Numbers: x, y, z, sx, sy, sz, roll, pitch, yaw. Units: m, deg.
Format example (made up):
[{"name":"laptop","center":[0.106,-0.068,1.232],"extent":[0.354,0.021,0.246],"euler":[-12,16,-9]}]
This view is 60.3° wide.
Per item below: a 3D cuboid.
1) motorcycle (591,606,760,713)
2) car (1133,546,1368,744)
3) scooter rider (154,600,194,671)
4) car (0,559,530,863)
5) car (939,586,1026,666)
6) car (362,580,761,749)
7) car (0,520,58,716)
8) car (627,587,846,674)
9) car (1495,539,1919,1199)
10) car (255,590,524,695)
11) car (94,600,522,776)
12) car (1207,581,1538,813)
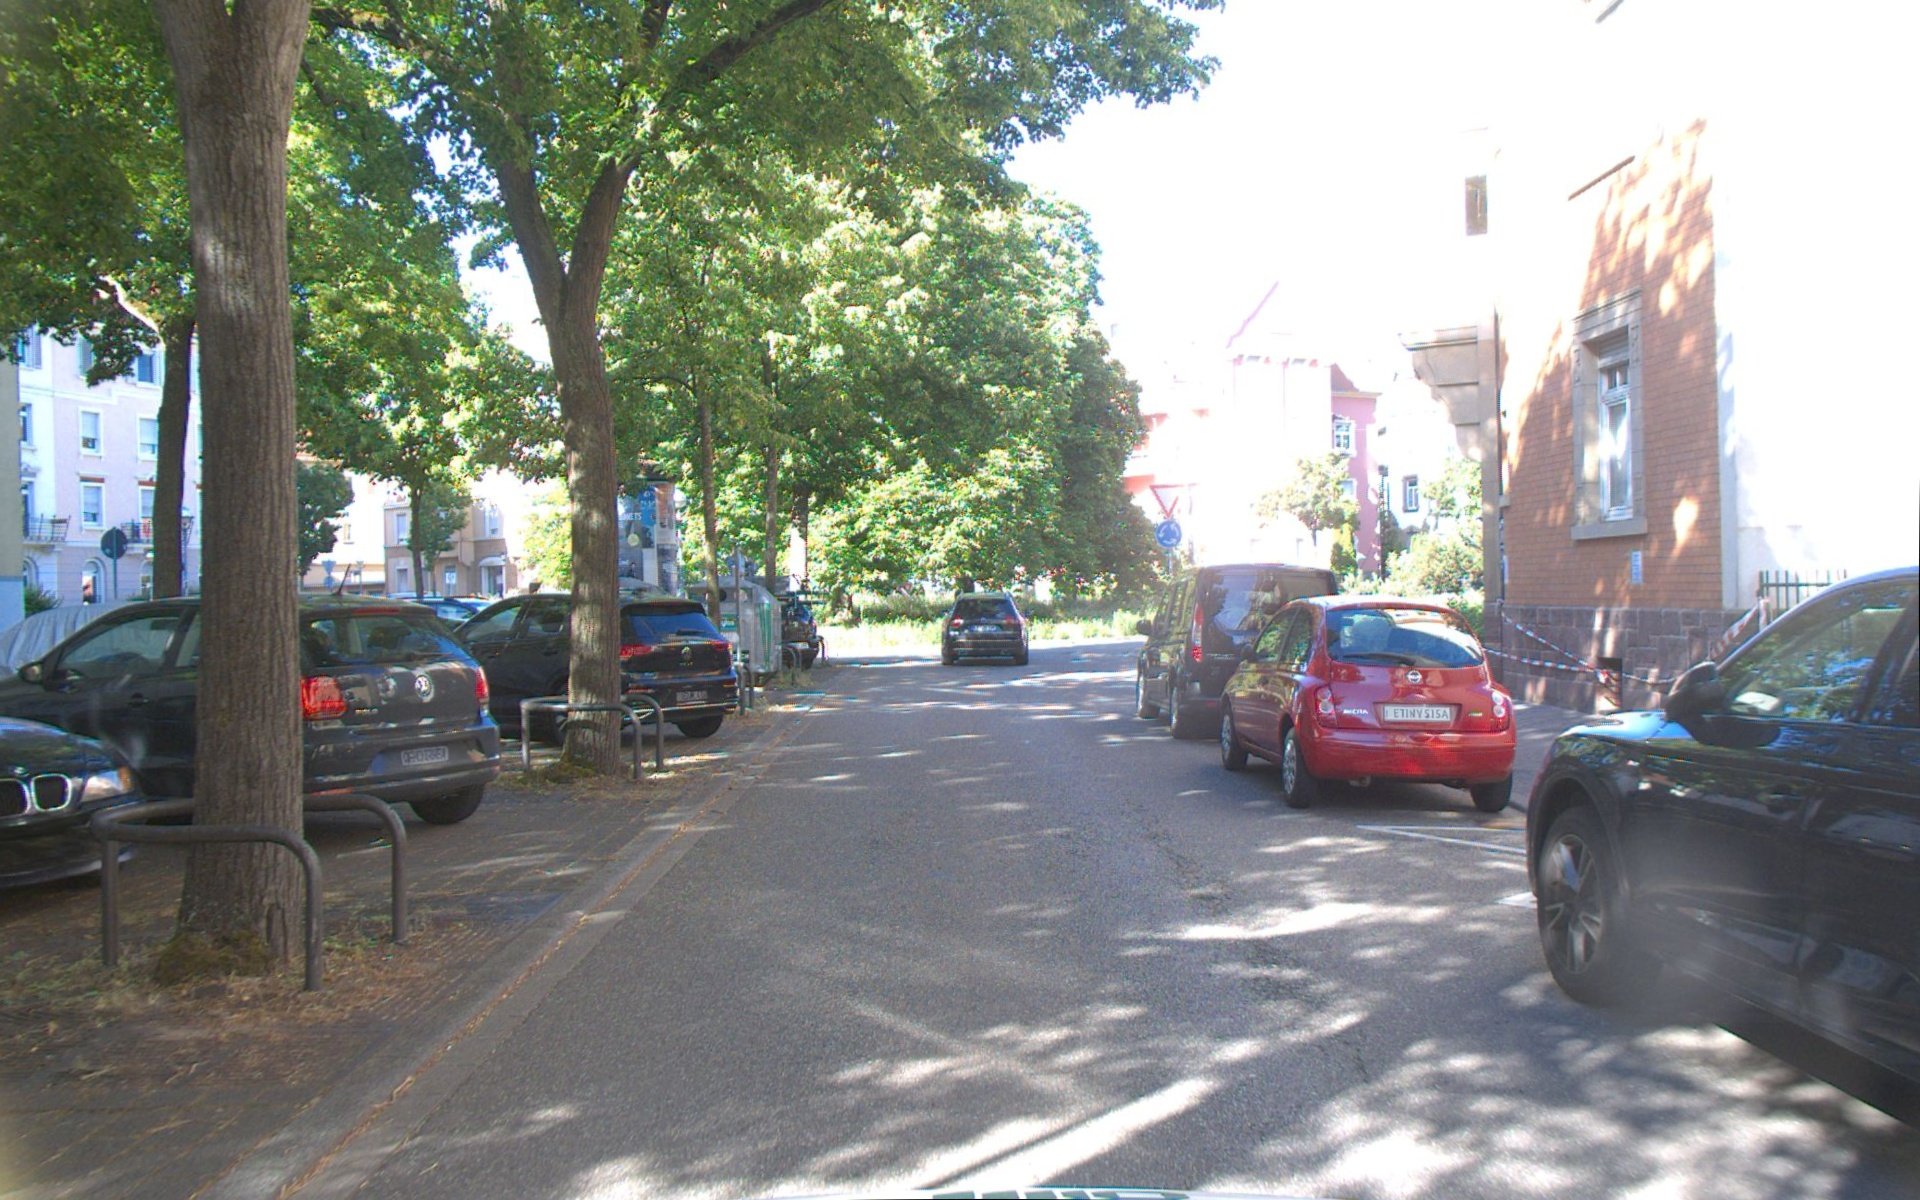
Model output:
[{"name":"motorcycle","center":[-3.408,0.707,19.876],"extent":[1.898,1.191,0.518],"euler":[-2,0,1]},{"name":"car","center":[3.106,0.435,18.521],"extent":[1.765,1.903,4.272],"euler":[2,0,-1]},{"name":"scooter rider","center":[-17.614,0.785,37.072],"extent":[0.515,1.556,0.605],"euler":[-2,0,37]},{"name":"car","center":[-4.643,0.597,10.351],"extent":[3.655,1.609,1.634],"euler":[-1,0,29]},{"name":"car","center":[0.472,0.496,34.802],"extent":[1.679,1.508,4.145],"euler":[-2,1,1]},{"name":"car","center":[-4.072,0.587,16.631],"extent":[4.024,1.492,1.858],"euler":[0,-1,39]},{"name":"car","center":[-9.765,0.062,13.580],"extent":[4.054,1.581,1.834],"euler":[2,0,19]},{"name":"car","center":[-4.178,0.552,30.606],"extent":[4.064,1.507,1.767],"euler":[-1,-1,40]},{"name":"car","center":[3.303,0.683,4.839],"extent":[1.827,1.672,4.489],"euler":[0,0,-3]},{"name":"car","center":[-9.144,0.667,26.599],"extent":[3.707,1.491,1.646],"euler":[-2,0,11]},{"name":"car","center":[-5.703,0.684,14.424],"extent":[3.489,1.269,1.655],"euler":[1,1,29]},{"name":"car","center":[3.175,0.662,13.518],"extent":[1.612,1.564,3.999],"euler":[2,0,-1]}]
